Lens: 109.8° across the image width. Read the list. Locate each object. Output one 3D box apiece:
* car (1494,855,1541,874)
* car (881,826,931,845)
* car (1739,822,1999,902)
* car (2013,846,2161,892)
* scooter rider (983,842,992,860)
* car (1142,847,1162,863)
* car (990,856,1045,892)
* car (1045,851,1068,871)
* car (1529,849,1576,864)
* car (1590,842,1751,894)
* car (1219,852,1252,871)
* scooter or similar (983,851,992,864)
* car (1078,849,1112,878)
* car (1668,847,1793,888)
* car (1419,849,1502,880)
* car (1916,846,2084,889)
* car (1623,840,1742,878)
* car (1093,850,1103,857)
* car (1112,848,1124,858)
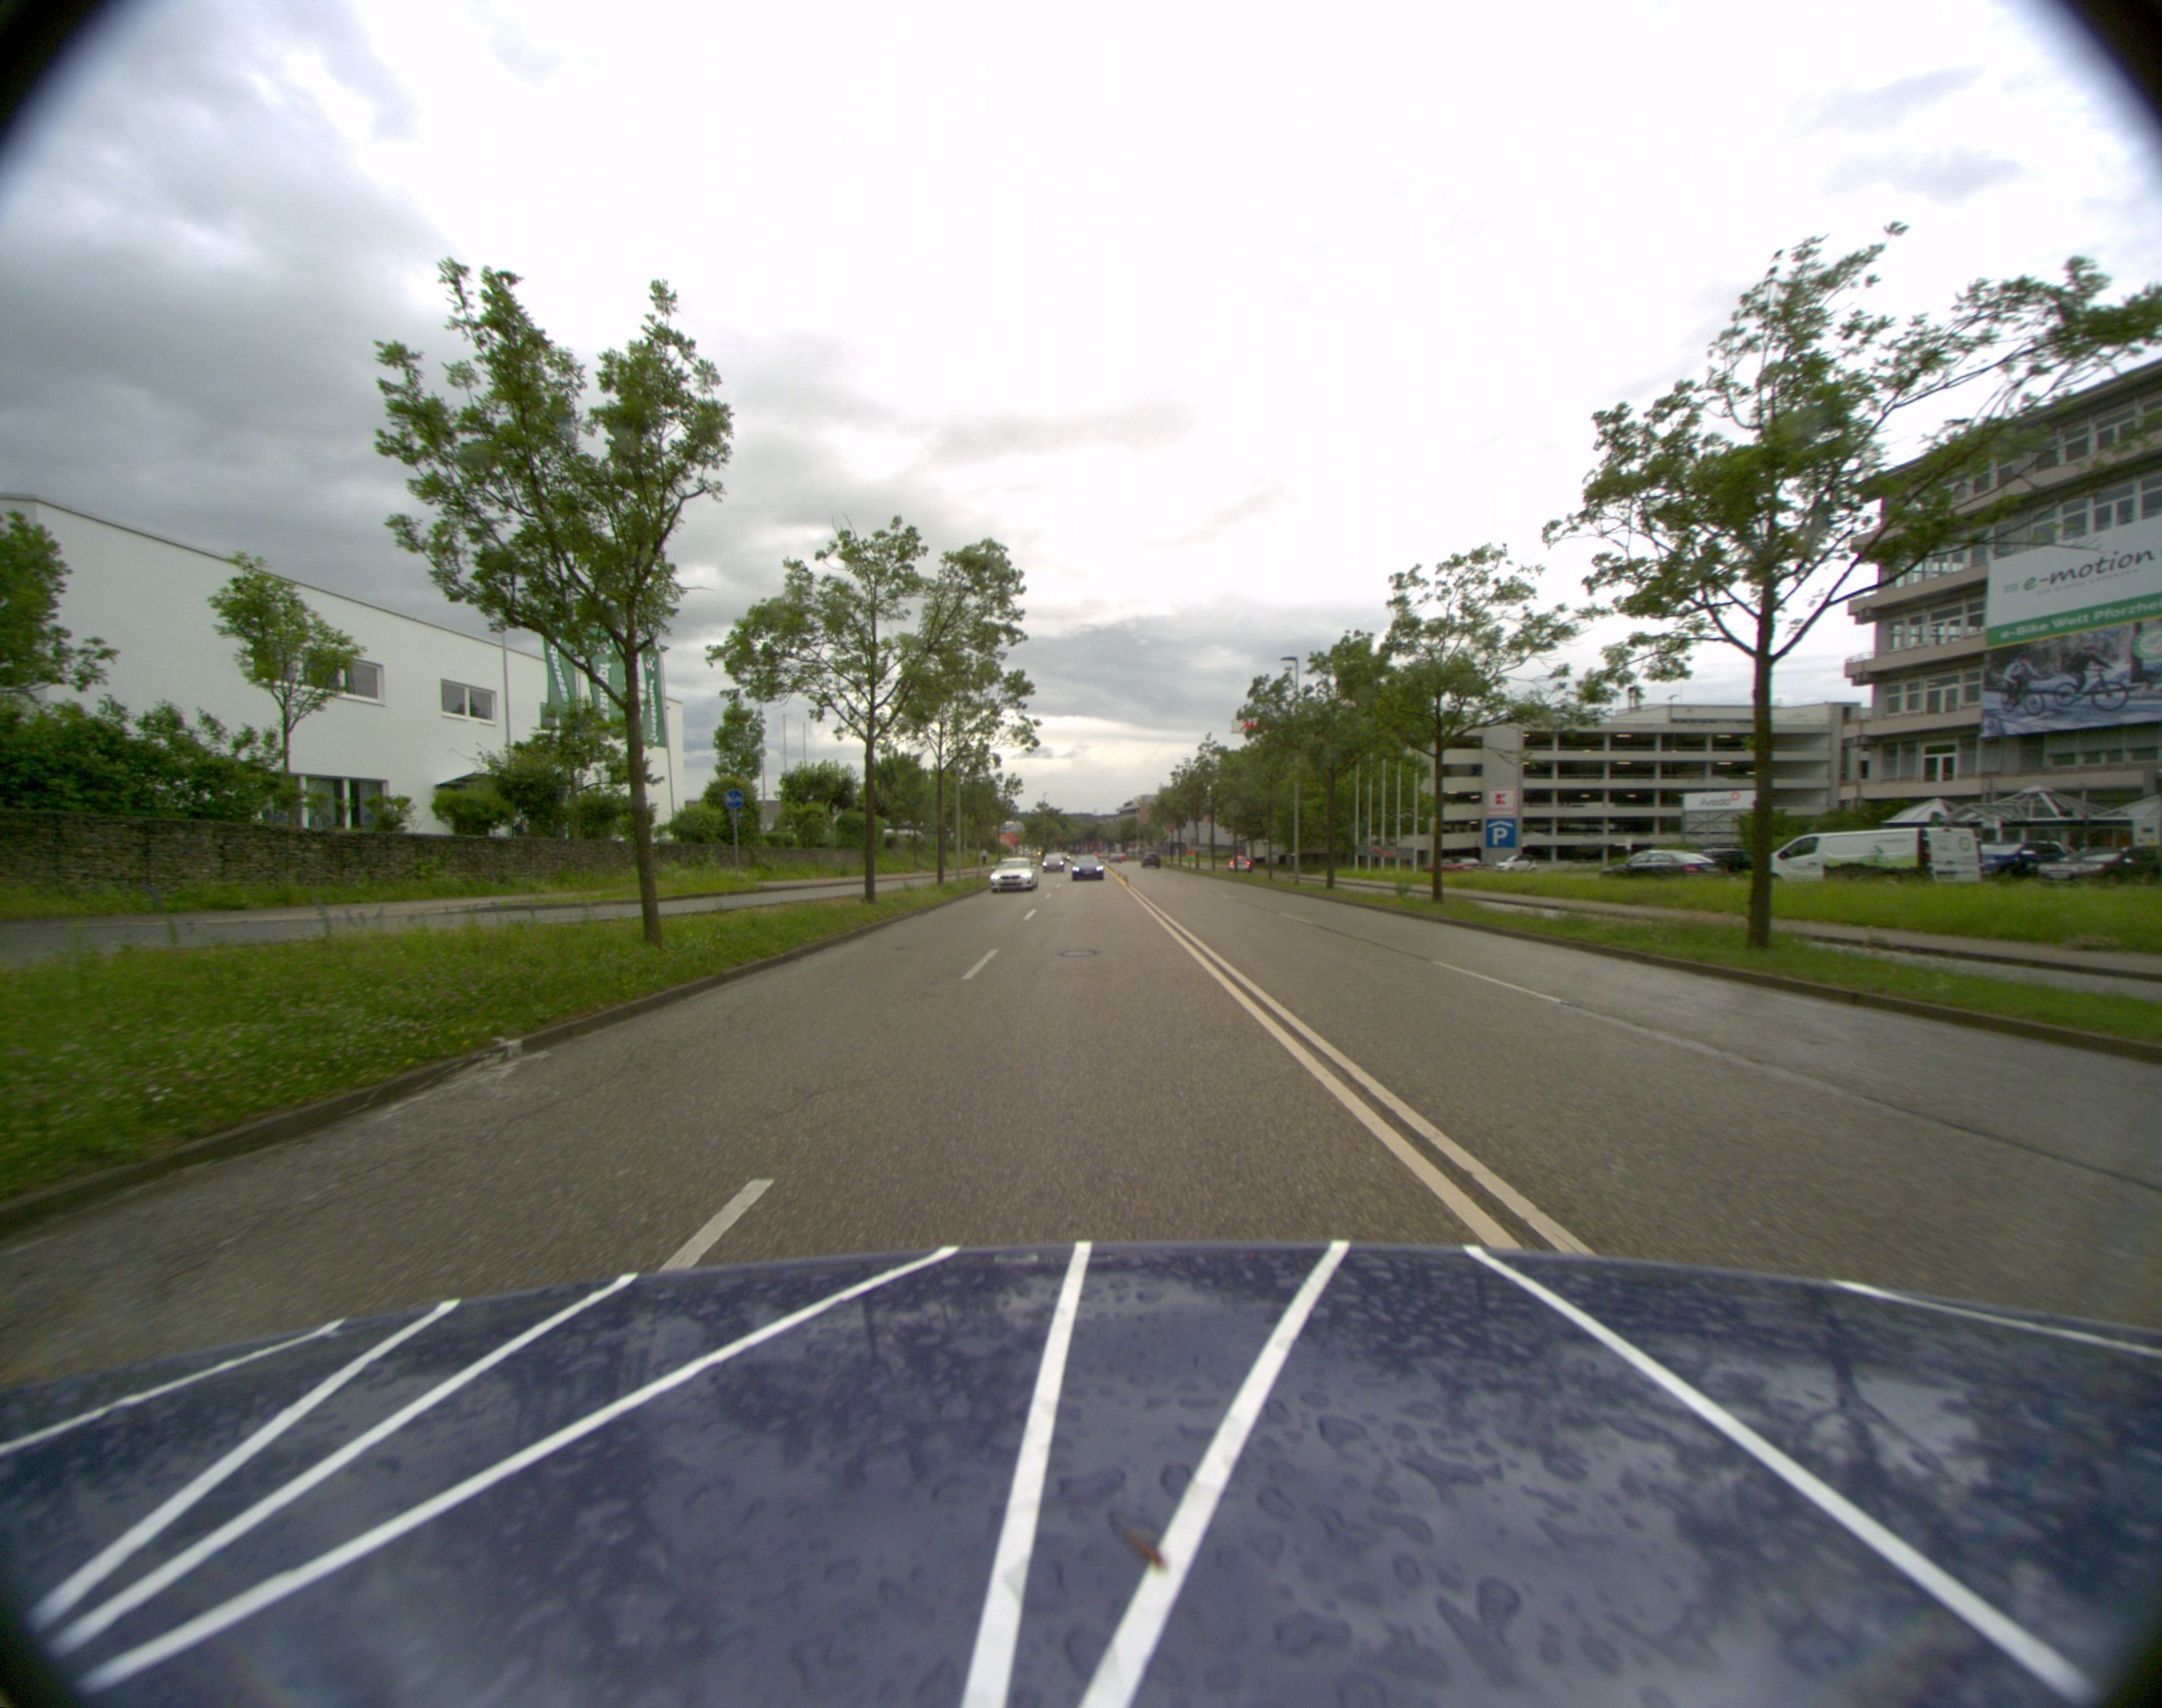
[{"bbox_3d":[33.406,0.810,58.202,2.705,1.357,1.609,1,-1,-10],"label":"car"},{"bbox_3d":[-21.114,-2.227,92.039,5.625,2.130,2.120,2,1,-7],"label":"car"},{"bbox_3d":[23.343,0.249,22.888,2.121,2.083,5.119,-2,-1,-8],"label":"car"},{"bbox_3d":[36.682,0.529,27.400,4.190,1.501,1.945,-2,-1,-8],"label":"car"},{"bbox_3d":[-9.495,-0.266,77.170,0.696,1.810,0.858,1,2,0],"label":"scooter rider"},{"bbox_3d":[7.656,0.096,82.199,1.792,1.605,4.436,2,1,1],"label":"car"},{"bbox_3d":[-2.817,0.844,34.661,1.808,1.432,4.542,-1,1,3],"label":"car"},{"bbox_3d":[-2.106,0.617,66.391,1.799,1.572,4.217,-2,1,-1],"label":"car"},{"bbox_3d":[49.746,0.275,80.178,1.756,1.454,3.834,-4,2,-44],"label":"car"},{"bbox_3d":[21.901,0.515,28.571,2.045,1.751,4.945,-2,-1,-3],"label":"car"},{"bbox_3d":[13.273,0.593,65.496,1.871,1.544,4.575,2,0,0],"label":"car"},{"bbox_3d":[-9.514,0.333,77.210,0.696,1.256,1.400,1,1,0],"label":"scooter or similar"},{"bbox_3d":[0.797,0.556,45.624,1.799,1.572,4.217,-2,1,-1],"label":"car"},{"bbox_3d":[30.279,0.638,35.483,4.513,1.735,1.899,-2,-1,-8],"label":"car"},{"bbox_3d":[21.157,0.592,42.597,1.938,1.599,4.710,-2,-1,-4],"label":"car"},{"bbox_3d":[36.008,0.513,29.832,4.624,1.501,2.024,-2,-1,-8],"label":"car"},{"bbox_3d":[30.026,0.256,38.011,4.613,1.735,1.966,-2,-1,-8],"label":"car"},{"bbox_3d":[3.442,-0.110,153.735,1.831,1.457,4.616,-2,1,2],"label":"car"},{"bbox_3d":[5.326,-0.122,109.630,1.671,1.402,4.378,2,0,1],"label":"car"}]
